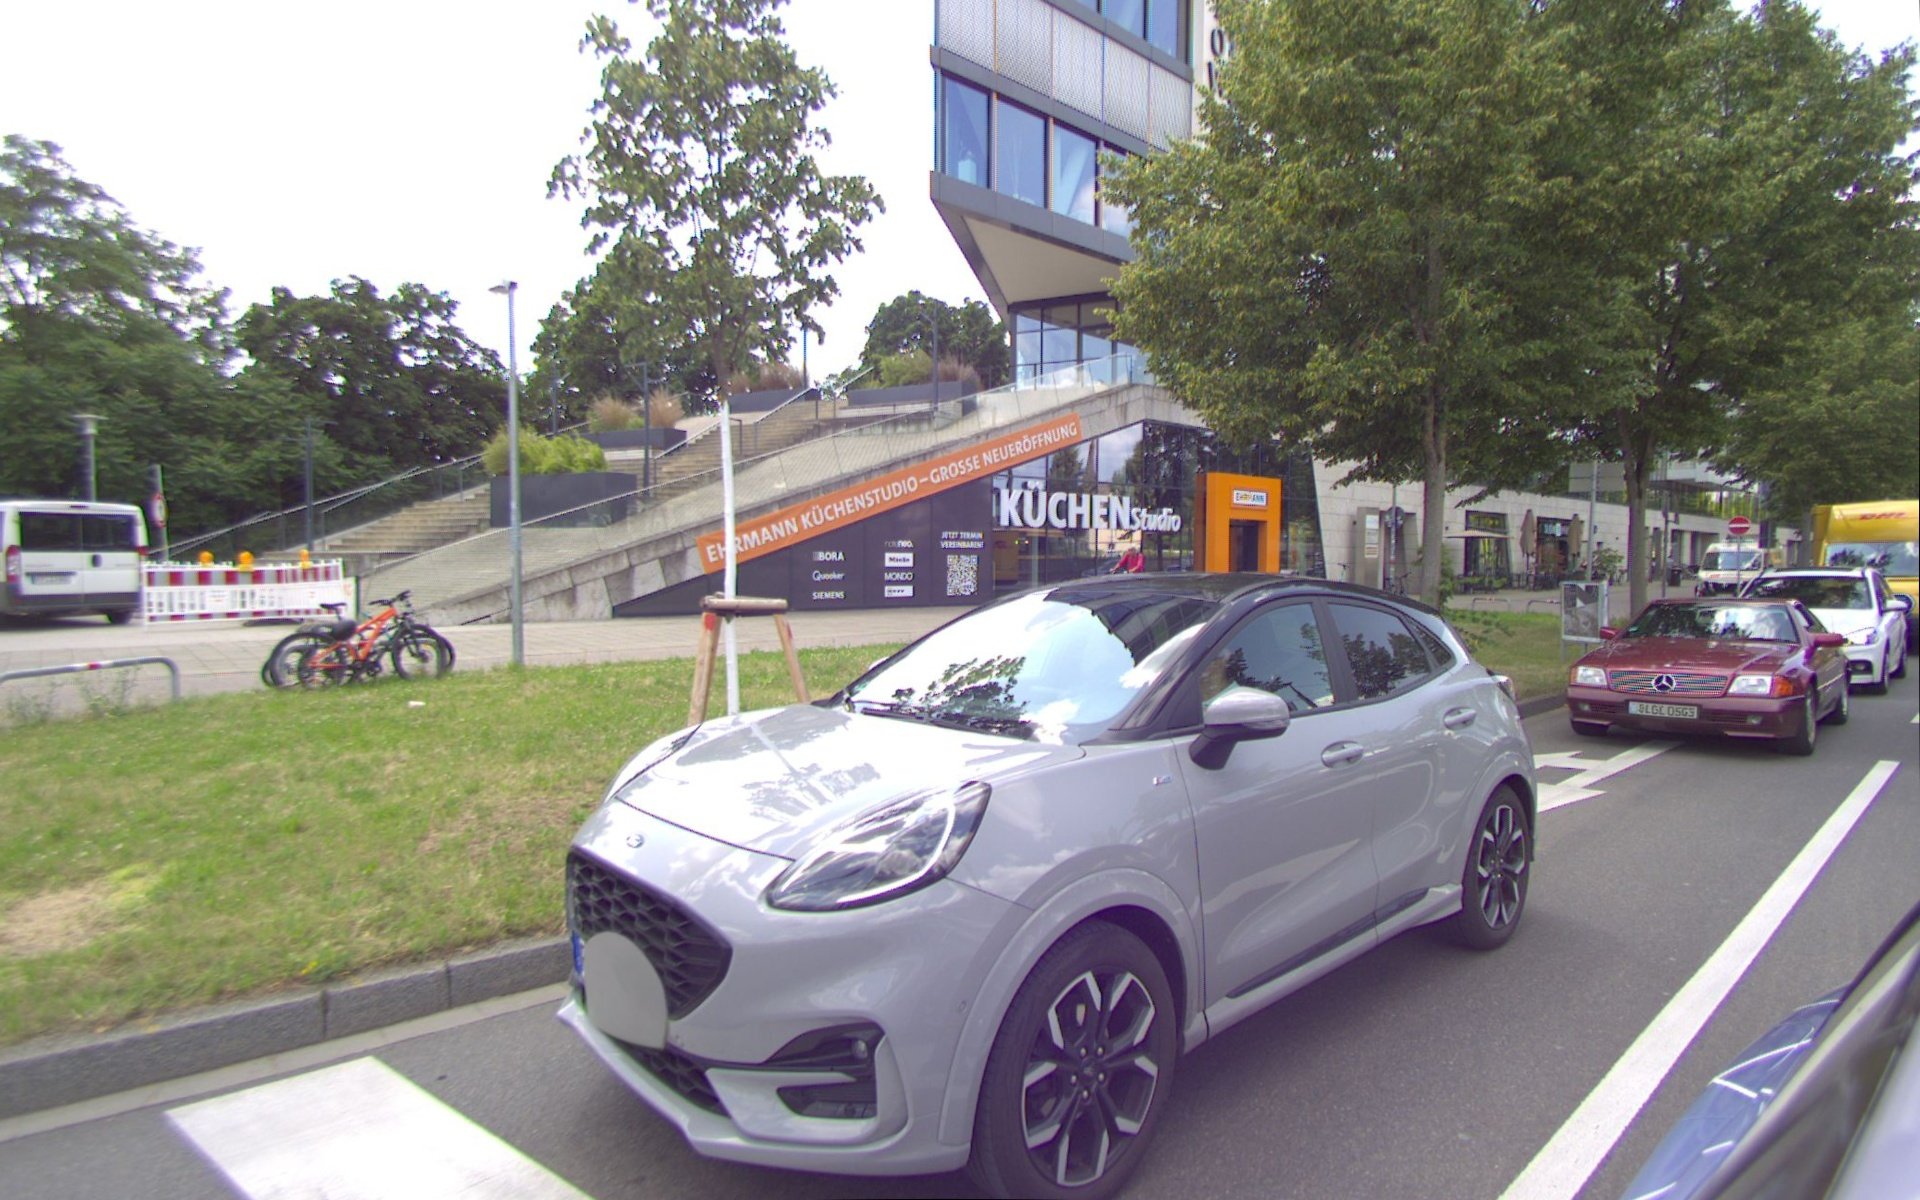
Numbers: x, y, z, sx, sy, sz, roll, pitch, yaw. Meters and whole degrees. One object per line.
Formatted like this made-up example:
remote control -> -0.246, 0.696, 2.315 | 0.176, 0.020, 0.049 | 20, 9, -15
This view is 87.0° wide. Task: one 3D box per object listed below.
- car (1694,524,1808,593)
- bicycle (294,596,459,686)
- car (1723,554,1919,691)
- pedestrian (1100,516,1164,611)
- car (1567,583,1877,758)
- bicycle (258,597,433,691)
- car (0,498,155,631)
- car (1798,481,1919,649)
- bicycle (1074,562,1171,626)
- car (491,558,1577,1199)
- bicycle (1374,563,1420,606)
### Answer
car -> 30.126, -1.559, 38.464 | 6.167, 2.423, 2.160 | -2, 1, -40
bicycle -> -6.050, 0.396, 10.552 | 0.357, 0.836, 1.452 | 2, 2, 42
car -> 12.010, 0.216, 13.945 | 4.058, 1.618, 1.672 | -2, 1, -42
pedestrian -> 3.832, -0.828, 22.544 | 1.212, 2.037, 0.753 | -1, 5, -44
car -> 7.474, 0.515, 9.782 | 4.023, 1.277, 1.672 | -2, 3, -42
bicycle -> -6.070, 0.408, 10.060 | 0.357, 0.836, 1.452 | 2, 2, 42
car -> -17.402, -0.658, 18.731 | 5.105, 2.174, 2.128 | 1, 2, 29
car -> 18.821, -0.725, 20.216 | 7.134, 2.888, 2.281 | -2, 2, -43
bicycle -> 3.625, -0.167, 22.416 | 2.372, 1.259, 0.811 | -3, 7, -44
car -> 0.645, 0.604, 3.751 | 4.022, 1.489, 1.673 | -2, 3, -41
bicycle -> 11.687, -0.439, 27.047 | 0.515, 1.101, 1.721 | 3, 3, 44
